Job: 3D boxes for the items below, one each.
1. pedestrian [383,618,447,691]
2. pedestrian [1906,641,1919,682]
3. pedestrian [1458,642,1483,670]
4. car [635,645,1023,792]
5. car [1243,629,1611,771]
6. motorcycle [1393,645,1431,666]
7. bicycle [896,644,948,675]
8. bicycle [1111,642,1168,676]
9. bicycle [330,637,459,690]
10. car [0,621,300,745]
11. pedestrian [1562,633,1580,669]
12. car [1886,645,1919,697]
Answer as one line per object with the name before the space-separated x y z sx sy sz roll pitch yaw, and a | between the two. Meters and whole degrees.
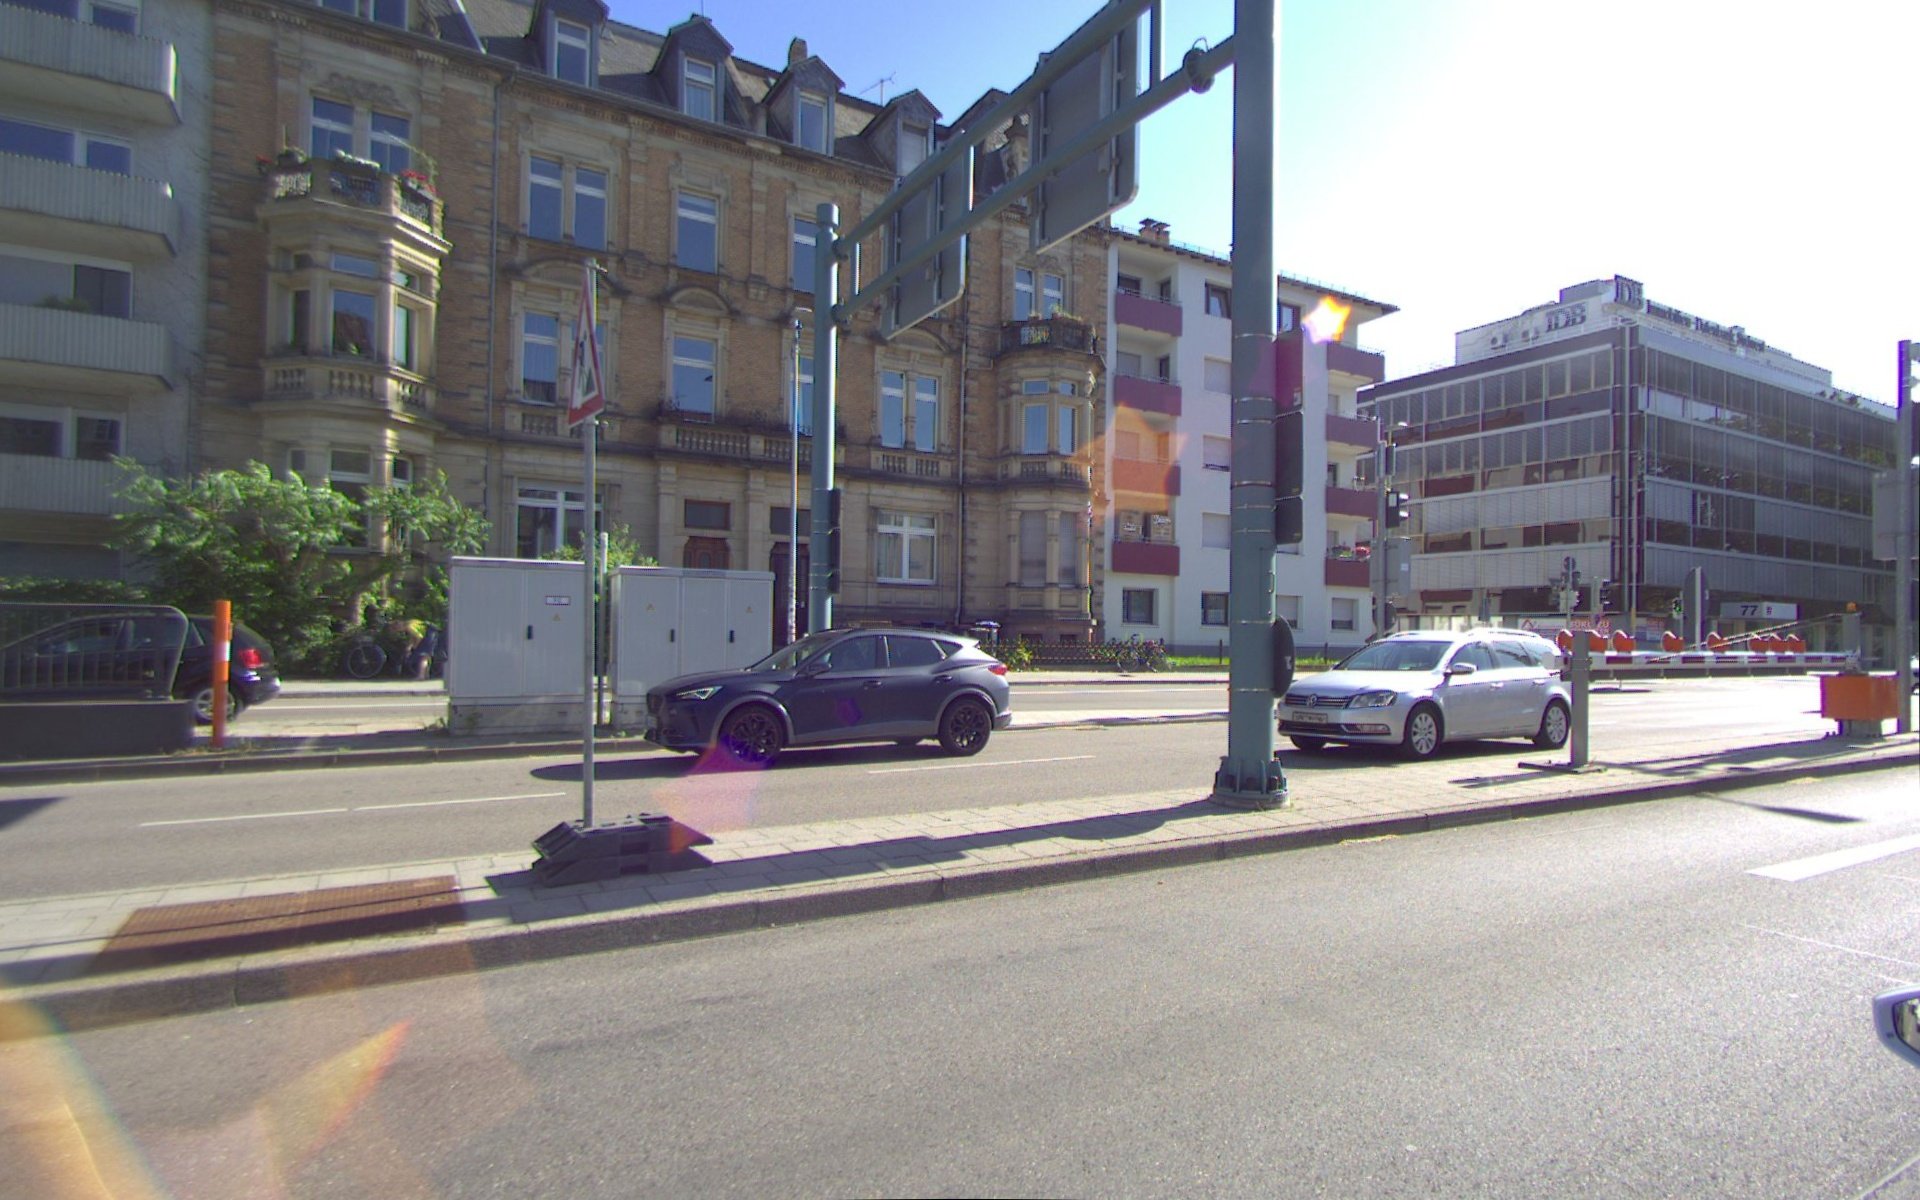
pedestrian | -10.759 1.064 19.823 1.078 1.396 0.563 1 -1 -31
pedestrian | 41.472 2.639 43.178 0.997 1.733 0.863 1 -1 -22
pedestrian | 21.939 2.385 43.182 0.783 1.168 0.711 2 -2 -42
car | -1.481 1.287 11.845 4.260 1.459 1.600 1 -4 -30
car | 5.992 1.144 12.785 4.563 1.472 1.985 0 -2 -30
motorcycle | 20.594 2.519 45.760 1.815 0.948 0.502 2 -1 -23
bicycle | -0.988 1.559 26.351 1.397 0.781 0.297 2 -2 -29
bicycle | 5.357 1.756 29.986 1.916 0.971 0.303 2 -2 -30
bicycle | -11.325 1.253 20.169 2.225 1.018 0.464 1 0 -32
car | -10.948 1.019 13.241 3.647 1.457 1.620 0 -1 -31
pedestrian | 28.957 2.430 47.595 0.688 1.679 0.745 0 -1 30
car | 30.128 2.154 30.250 4.336 1.472 1.985 1 1 -28
